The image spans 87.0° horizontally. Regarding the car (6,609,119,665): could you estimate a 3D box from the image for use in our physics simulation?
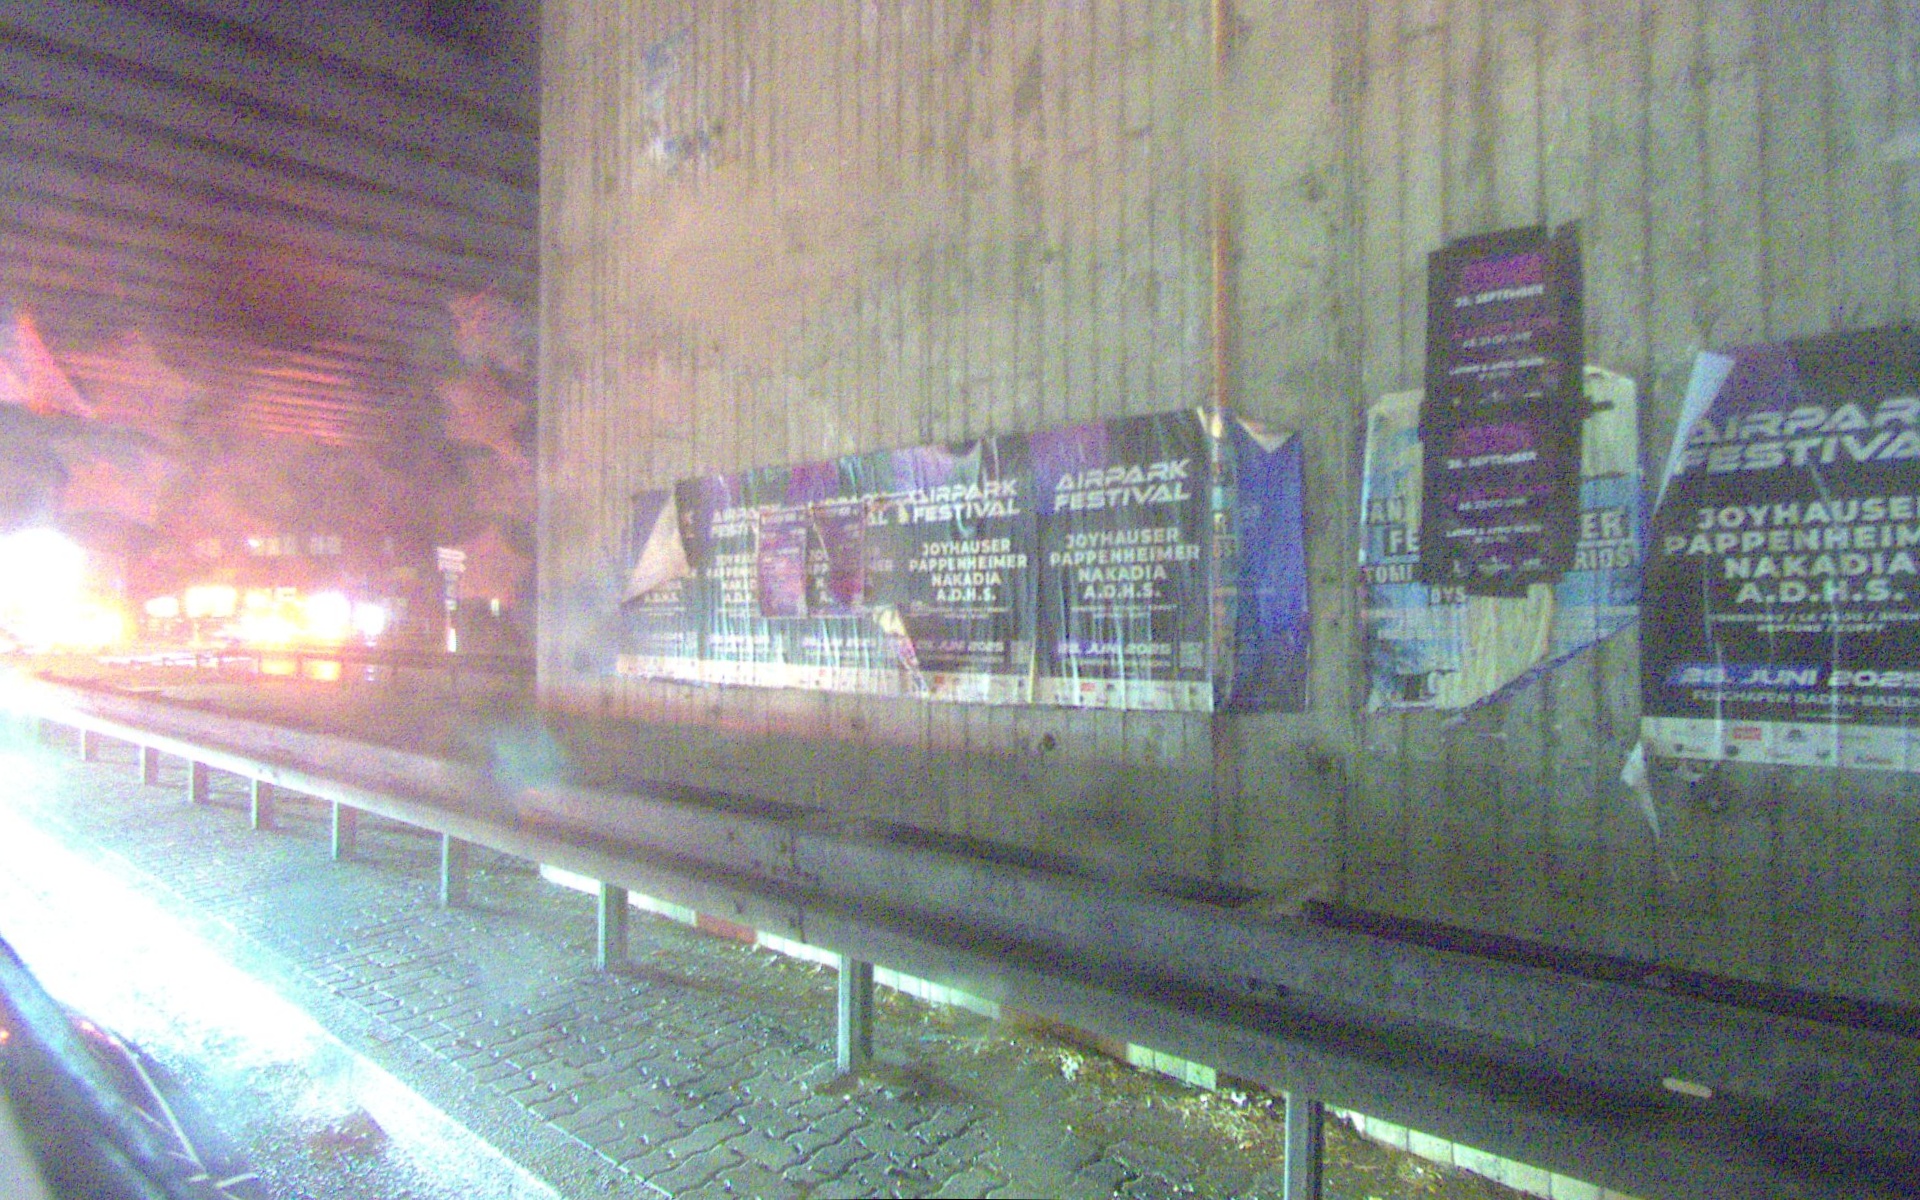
[{"bbox_3d":[-30.473,1.220,34.323,4.387,1.754,1.888,-1,0,35],"label":"car"}]

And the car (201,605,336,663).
[{"bbox_3d":[-22.358,1.064,32.701,4.488,1.763,1.841,-1,0,30],"label":"car"}]
